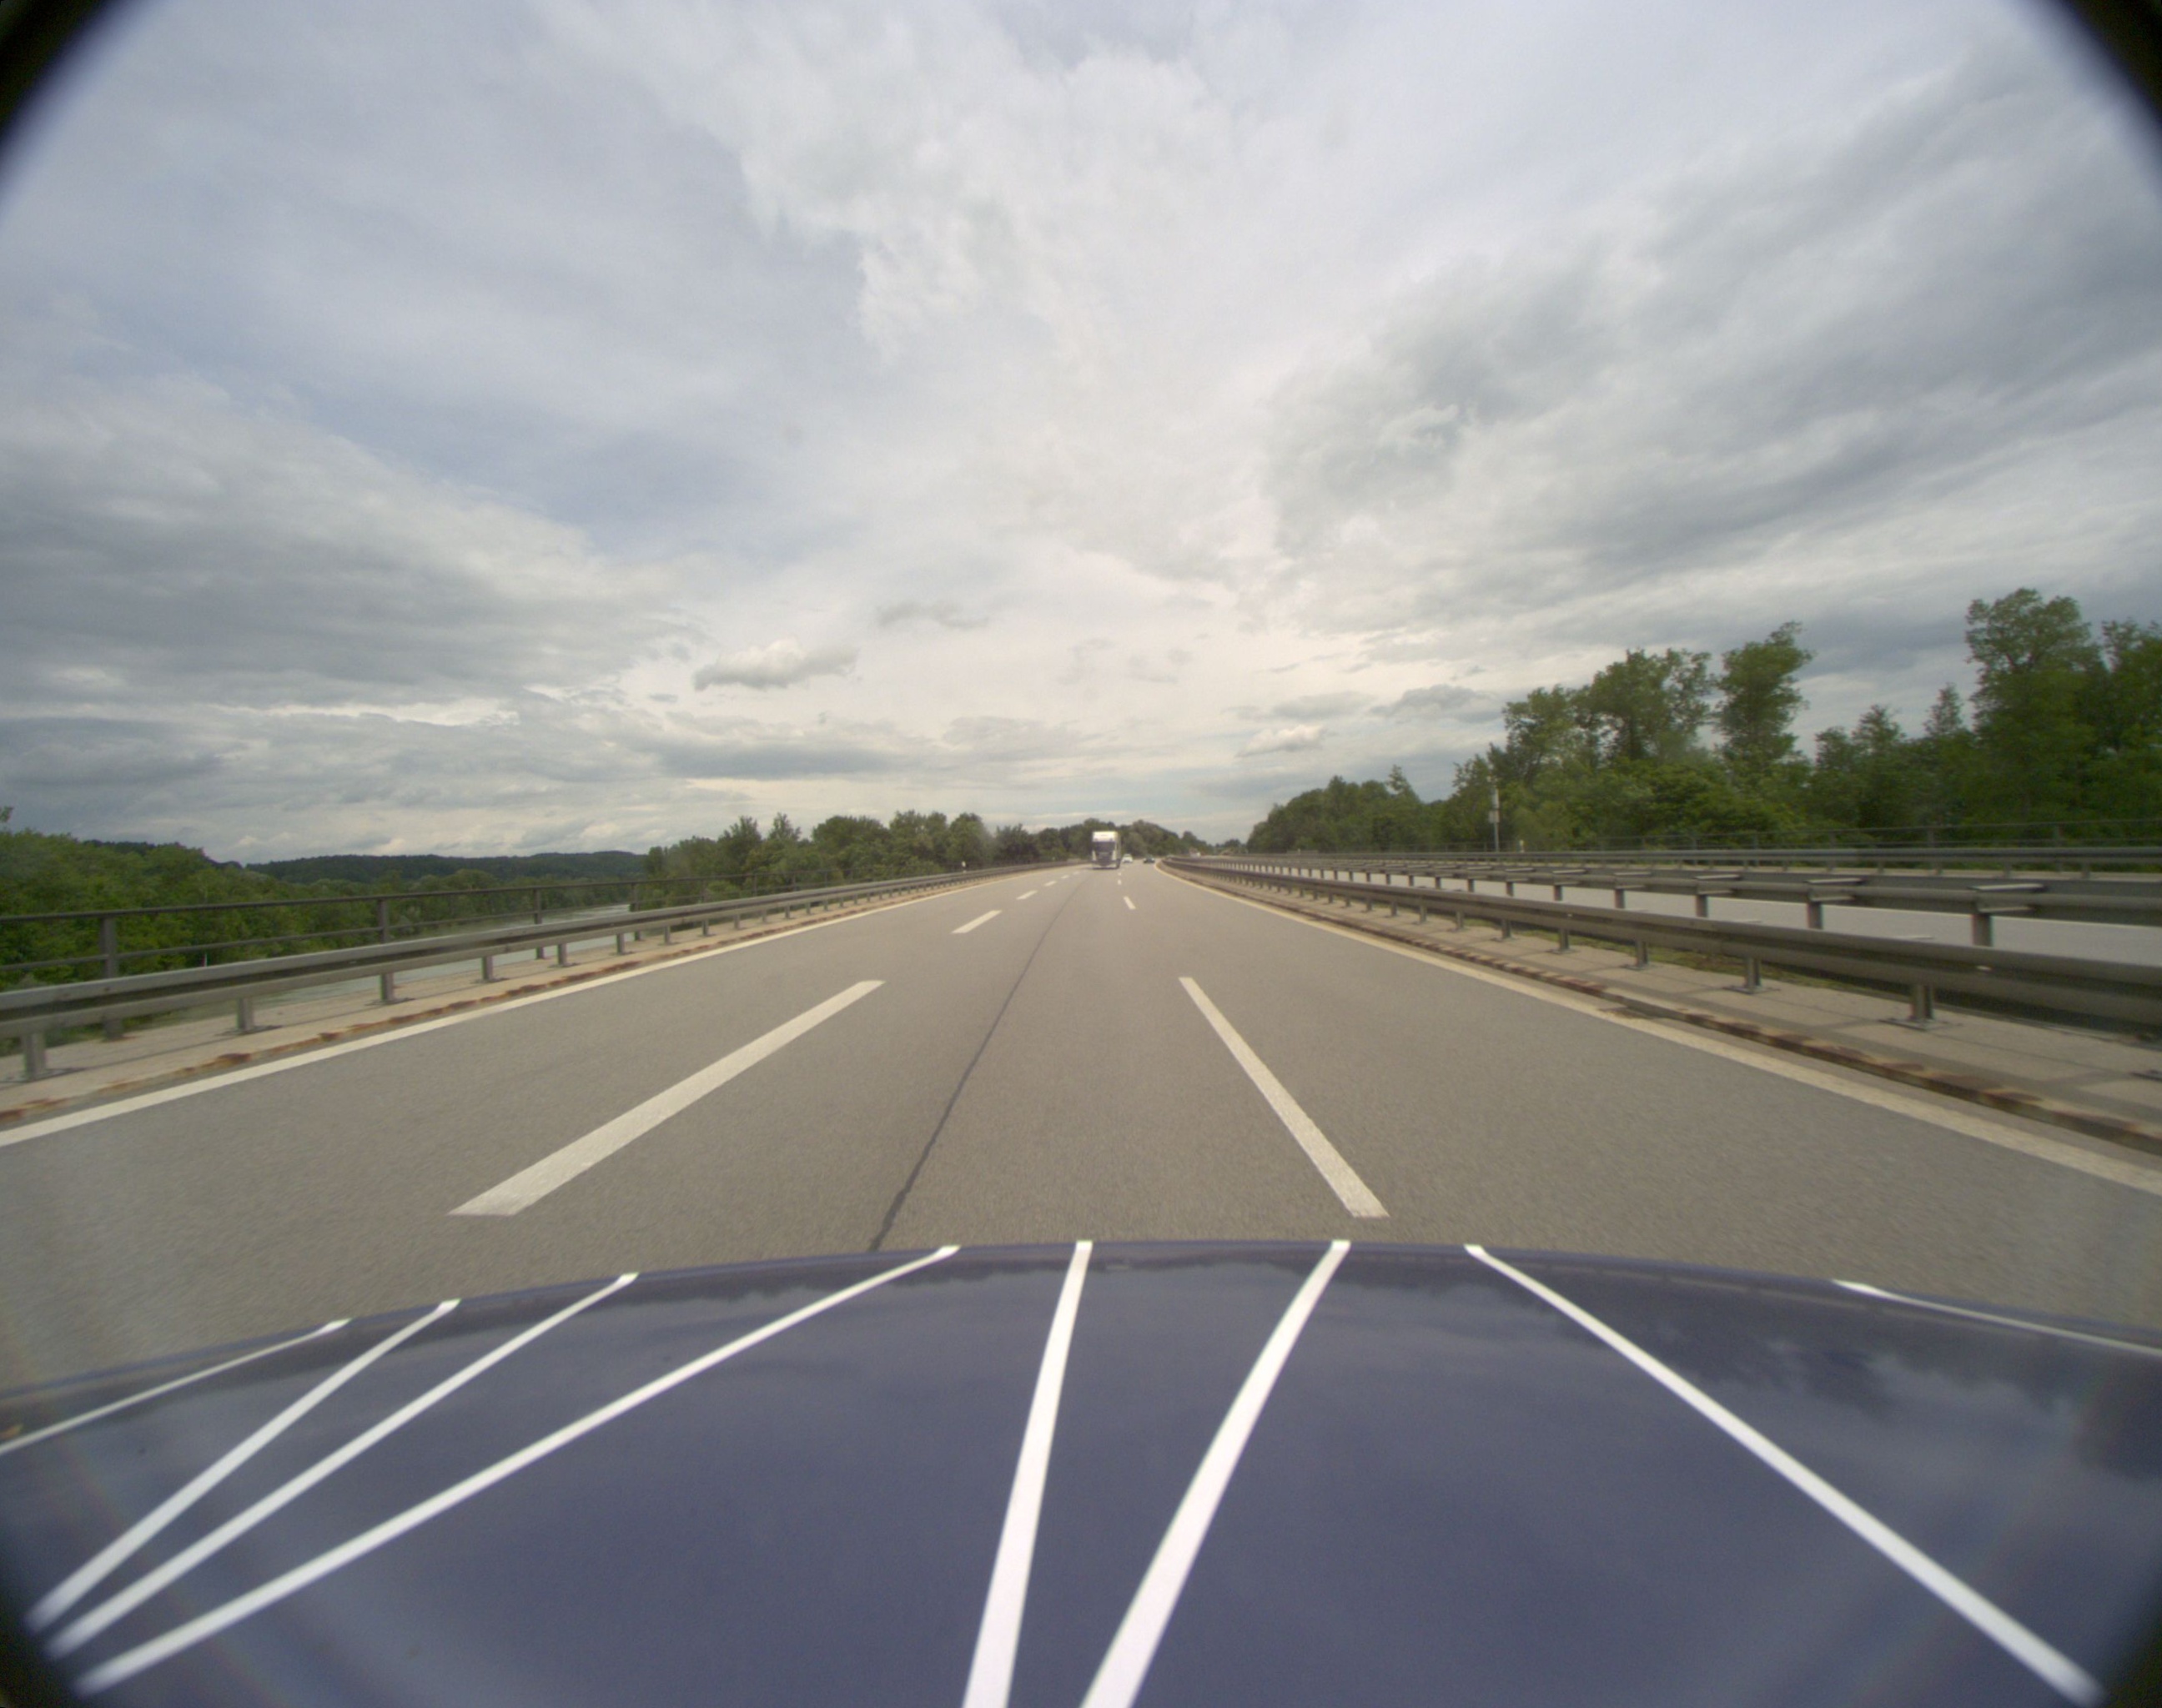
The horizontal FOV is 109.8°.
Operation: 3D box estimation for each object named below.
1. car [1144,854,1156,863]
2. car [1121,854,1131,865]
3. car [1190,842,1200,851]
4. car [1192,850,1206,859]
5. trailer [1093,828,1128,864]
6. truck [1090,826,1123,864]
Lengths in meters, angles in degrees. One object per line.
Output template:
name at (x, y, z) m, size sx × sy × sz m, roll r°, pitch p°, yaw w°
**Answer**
car at (11.386, 0.765, 125.422) m, size 1.774 × 1.474 × 4.700 m, roll -1°, pitch -1°, yaw 7°
car at (8.010, 1.000, 135.222) m, size 1.774 × 1.813 × 4.166 m, roll -3°, pitch 0°, yaw 3°
car at (29.094, -1.855, 194.144) m, size 1.997 × 2.279 × 6.400 m, roll -3°, pitch 0°, yaw 7°
car at (18.946, 0.061, 122.423) m, size 1.776 × 1.379 × 4.388 m, roll -2°, pitch 0°, yaw 3°
trailer at (3.667, -0.877, 89.682) m, size 3.068 × 3.867 × 13.797 m, roll -2°, pitch 0°, yaw 6°
truck at (2.813, -0.899, 81.803) m, size 3.068 × 3.869 × 6.003 m, roll -2°, pitch 0°, yaw 6°
